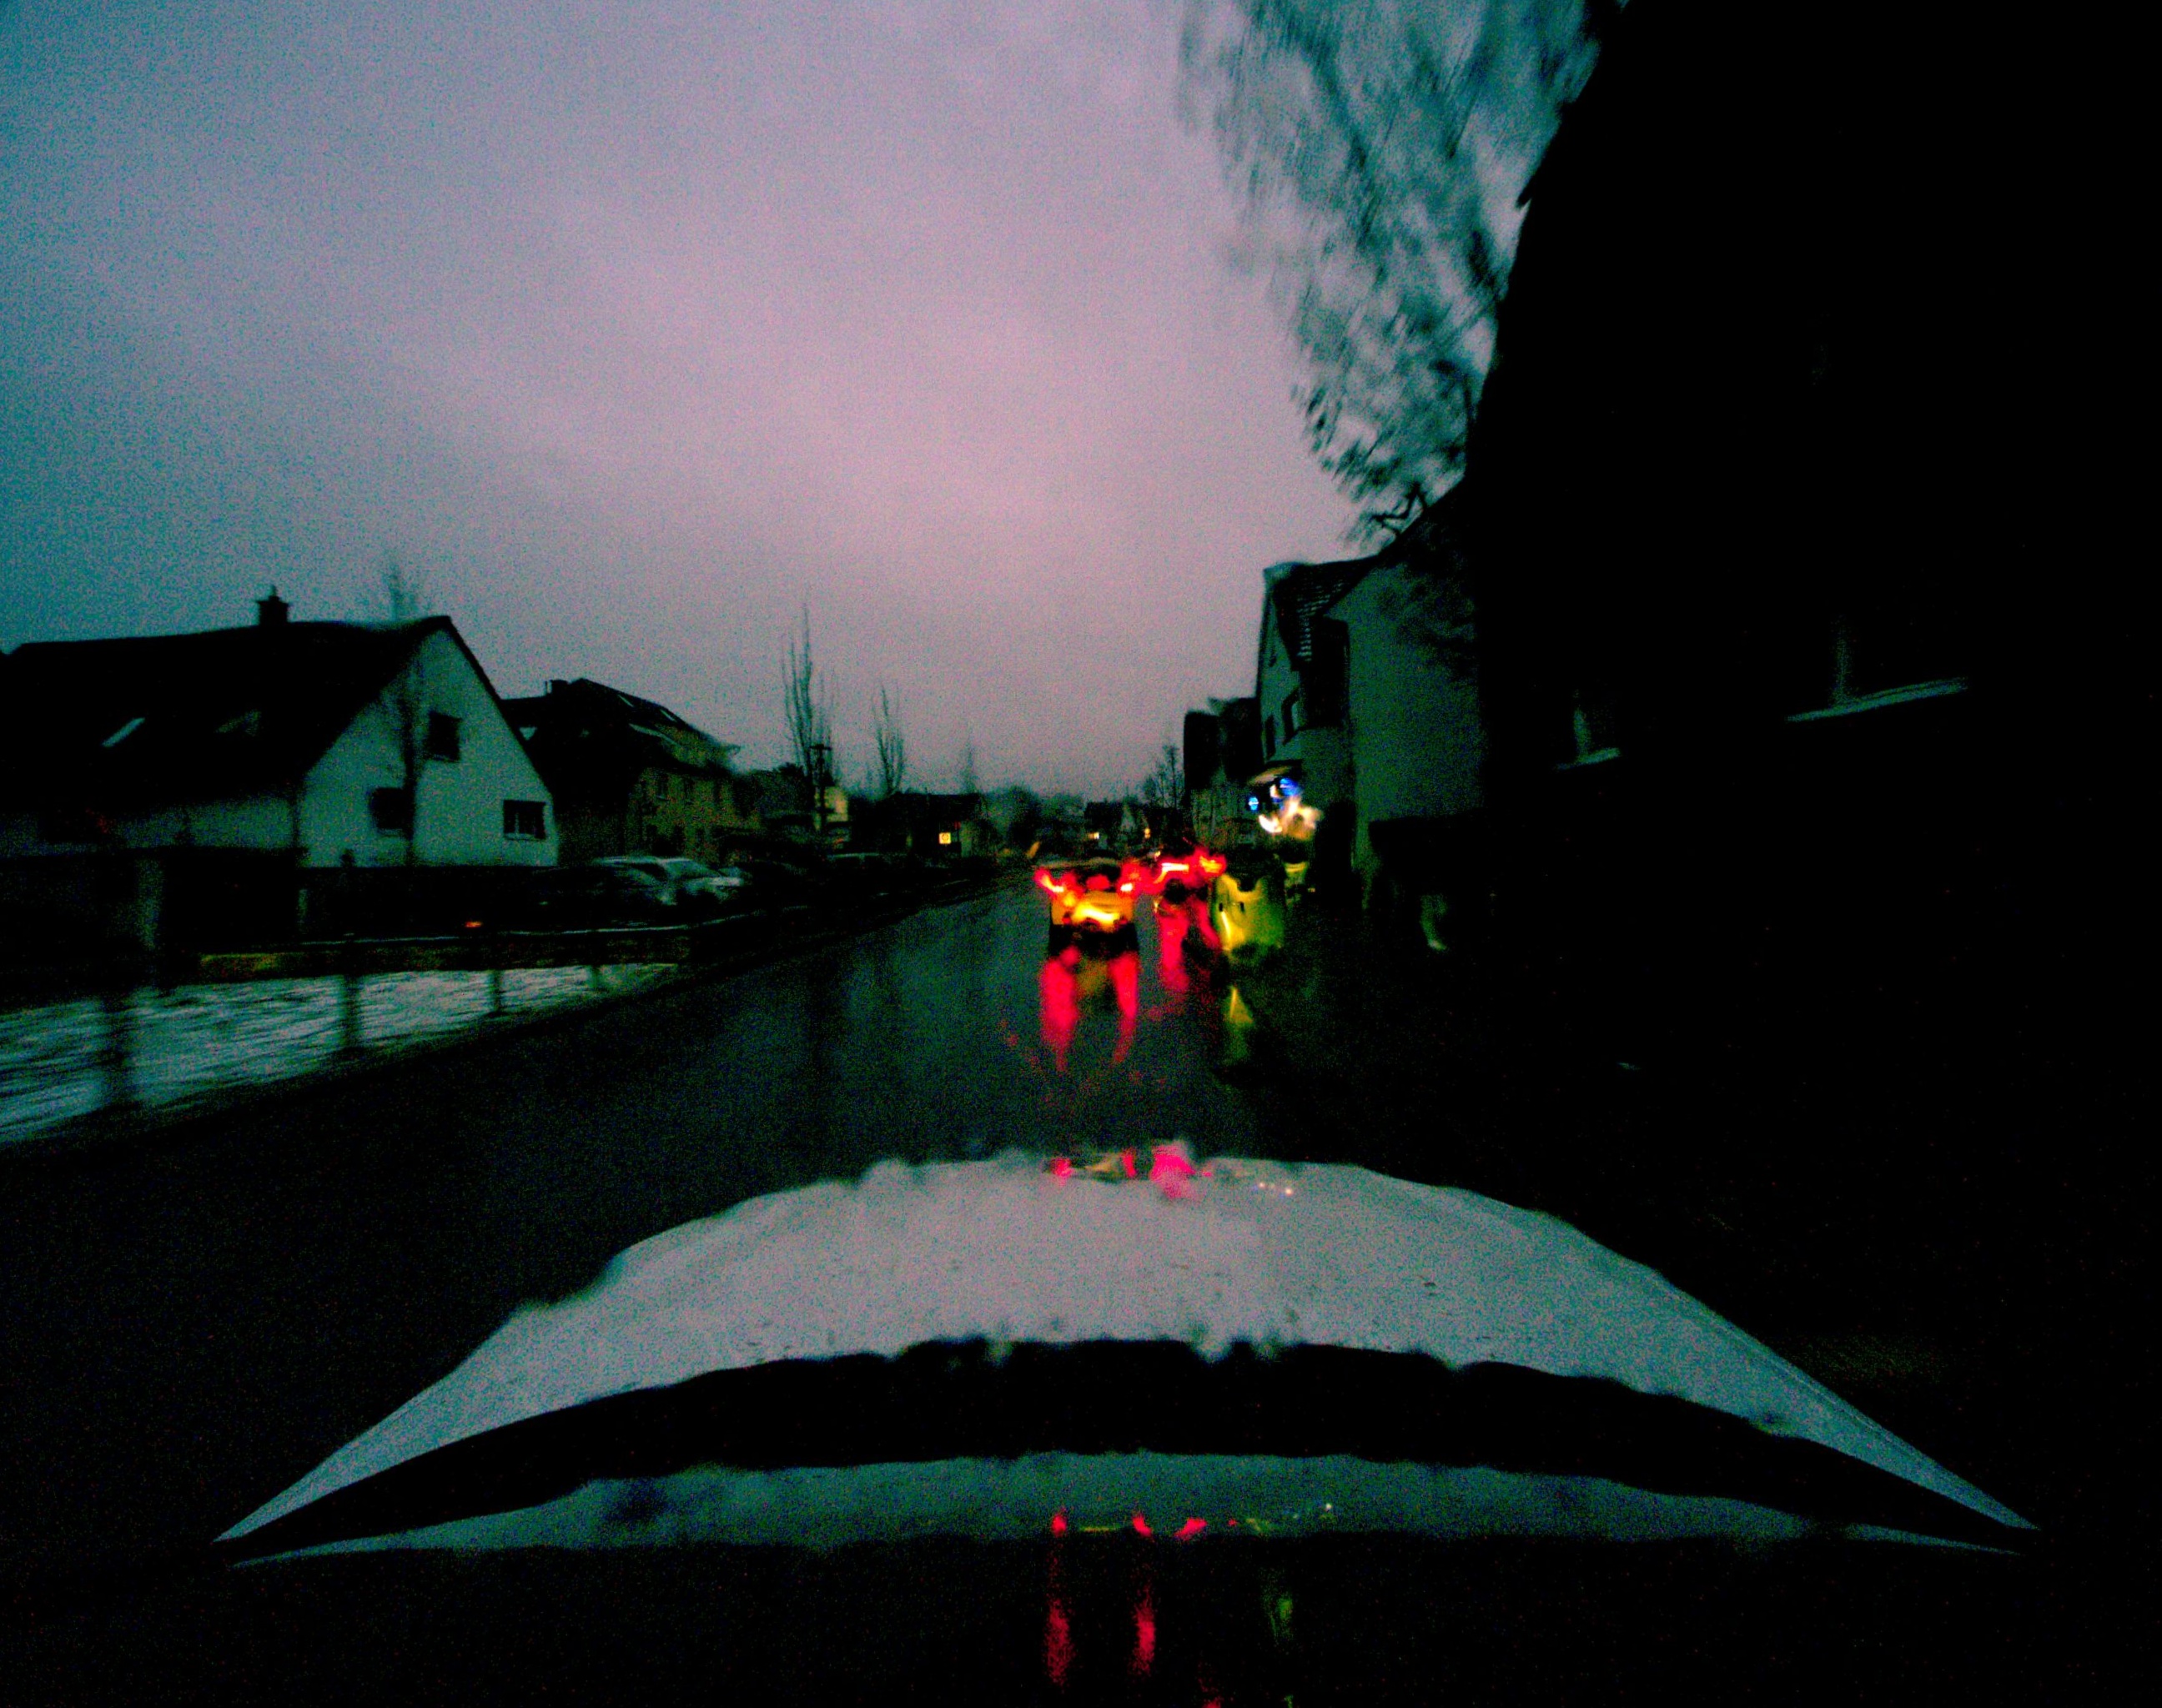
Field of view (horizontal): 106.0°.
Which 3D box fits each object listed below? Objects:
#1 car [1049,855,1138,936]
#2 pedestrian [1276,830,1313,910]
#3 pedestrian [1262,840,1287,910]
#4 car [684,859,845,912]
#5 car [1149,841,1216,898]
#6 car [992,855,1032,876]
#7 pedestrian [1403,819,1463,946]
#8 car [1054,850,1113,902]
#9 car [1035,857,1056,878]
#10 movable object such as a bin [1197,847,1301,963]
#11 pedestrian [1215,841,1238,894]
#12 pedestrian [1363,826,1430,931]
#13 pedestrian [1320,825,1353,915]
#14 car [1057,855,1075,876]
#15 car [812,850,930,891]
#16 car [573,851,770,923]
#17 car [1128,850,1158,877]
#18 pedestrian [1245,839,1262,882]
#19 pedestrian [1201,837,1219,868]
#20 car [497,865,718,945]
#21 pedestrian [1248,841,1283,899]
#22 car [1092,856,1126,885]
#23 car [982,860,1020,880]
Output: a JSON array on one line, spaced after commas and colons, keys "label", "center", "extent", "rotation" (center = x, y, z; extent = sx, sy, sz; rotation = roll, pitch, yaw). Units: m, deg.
[{"label": "car", "center": [0.268, 0.741, 15.912], "extent": [1.557, 1.412, 3.018], "rotation": [-1, 0, 1]}, {"label": "pedestrian", "center": [4.823, 0.342, 18.383], "extent": [0.707, 1.715, 1.038], "rotation": [-3, 0, 15]}, {"label": "pedestrian", "center": [4.704, 0.489, 19.748], "extent": [0.476, 1.630, 1.023], "rotation": [-3, 0, 15]}, {"label": "car", "center": [-9.517, 0.965, 24.707], "extent": [4.109, 1.498, 1.881], "rotation": [-1, -2, 3]}, {"label": "car", "center": [3.349, 0.494, 27.631], "extent": [1.729, 1.692, 4.386], "rotation": [-2, 0, 1]}, {"label": "car", "center": [-7.574, 1.290, 89.371], "extent": [2.011, 2.167, 4.331], "rotation": [2, -3, -45]}, {"label": "pedestrian", "center": [4.781, 0.394, 11.095], "extent": [0.525, 1.653, 0.956], "rotation": [-1, -3, 11]}, {"label": "car", "center": [0.134, 0.682, 27.287], "extent": [1.759, 1.628, 3.589], "rotation": [-1, 0, 3]}, {"label": "car", "center": [-3.551, 1.417, 82.535], "extent": [1.914, 2.028, 3.973], "rotation": [0, -2, 0]}, {"label": "movable object such as a bin", "center": [2.288, 0.657, 11.326], "extent": [1.124, 1.420, 1.419], "rotation": [-5, 0, 3]}, {"label": "pedestrian", "center": [4.781, 0.434, 26.769], "extent": [0.571, 1.699, 0.653], "rotation": [-4, -1, 3]}, {"label": "pedestrian", "center": [5.333, 0.417, 13.840], "extent": [0.743, 1.679, 1.054], "rotation": [-4, -2, 7]}, {"label": "pedestrian", "center": [5.243, 0.326, 16.759], "extent": [0.525, 1.800, 0.867], "rotation": [-1, 0, 11]}, {"label": "car", "center": [-1.609, 1.270, 90.420], "extent": [1.914, 2.216, 3.973], "rotation": [0, -2, 0]}, {"label": "car", "center": [-9.052, 0.708, 35.394], "extent": [4.612, 1.667, 1.999], "rotation": [-1, -1, -1]}, {"label": "car", "center": [-9.508, 0.755, 19.059], "extent": [3.772, 1.523, 1.718], "rotation": [-1, -1, 8]}, {"label": "car", "center": [4.464, 0.726, 59.553], "extent": [1.990, 1.865, 4.084], "rotation": [-1, -1, 2]}, {"label": "pedestrian", "center": [7.028, 0.270, 33.182], "extent": [0.614, 1.727, 0.503], "rotation": [-1, -3, 13]}, {"label": "pedestrian", "center": [6.362, -0.068, 40.142], "extent": [0.618, 1.515, 0.731], "rotation": [-2, 1, -12]}, {"label": "car", "center": [-9.376, 0.987, 16.310], "extent": [3.433, 1.372, 1.601], "rotation": [-2, 0, 0]}, {"label": "pedestrian", "center": [5.351, 0.453, 23.664], "extent": [0.618, 1.626, 0.903], "rotation": [-2, 1, -12]}, {"label": "car", "center": [1.325, 0.752, 39.000], "extent": [1.535, 1.331, 3.312], "rotation": [-1, 0, 1]}, {"label": "car", "center": [-8.508, 1.735, 86.534], "extent": [1.833, 1.976, 4.117], "rotation": [2, -3, -45]}]
